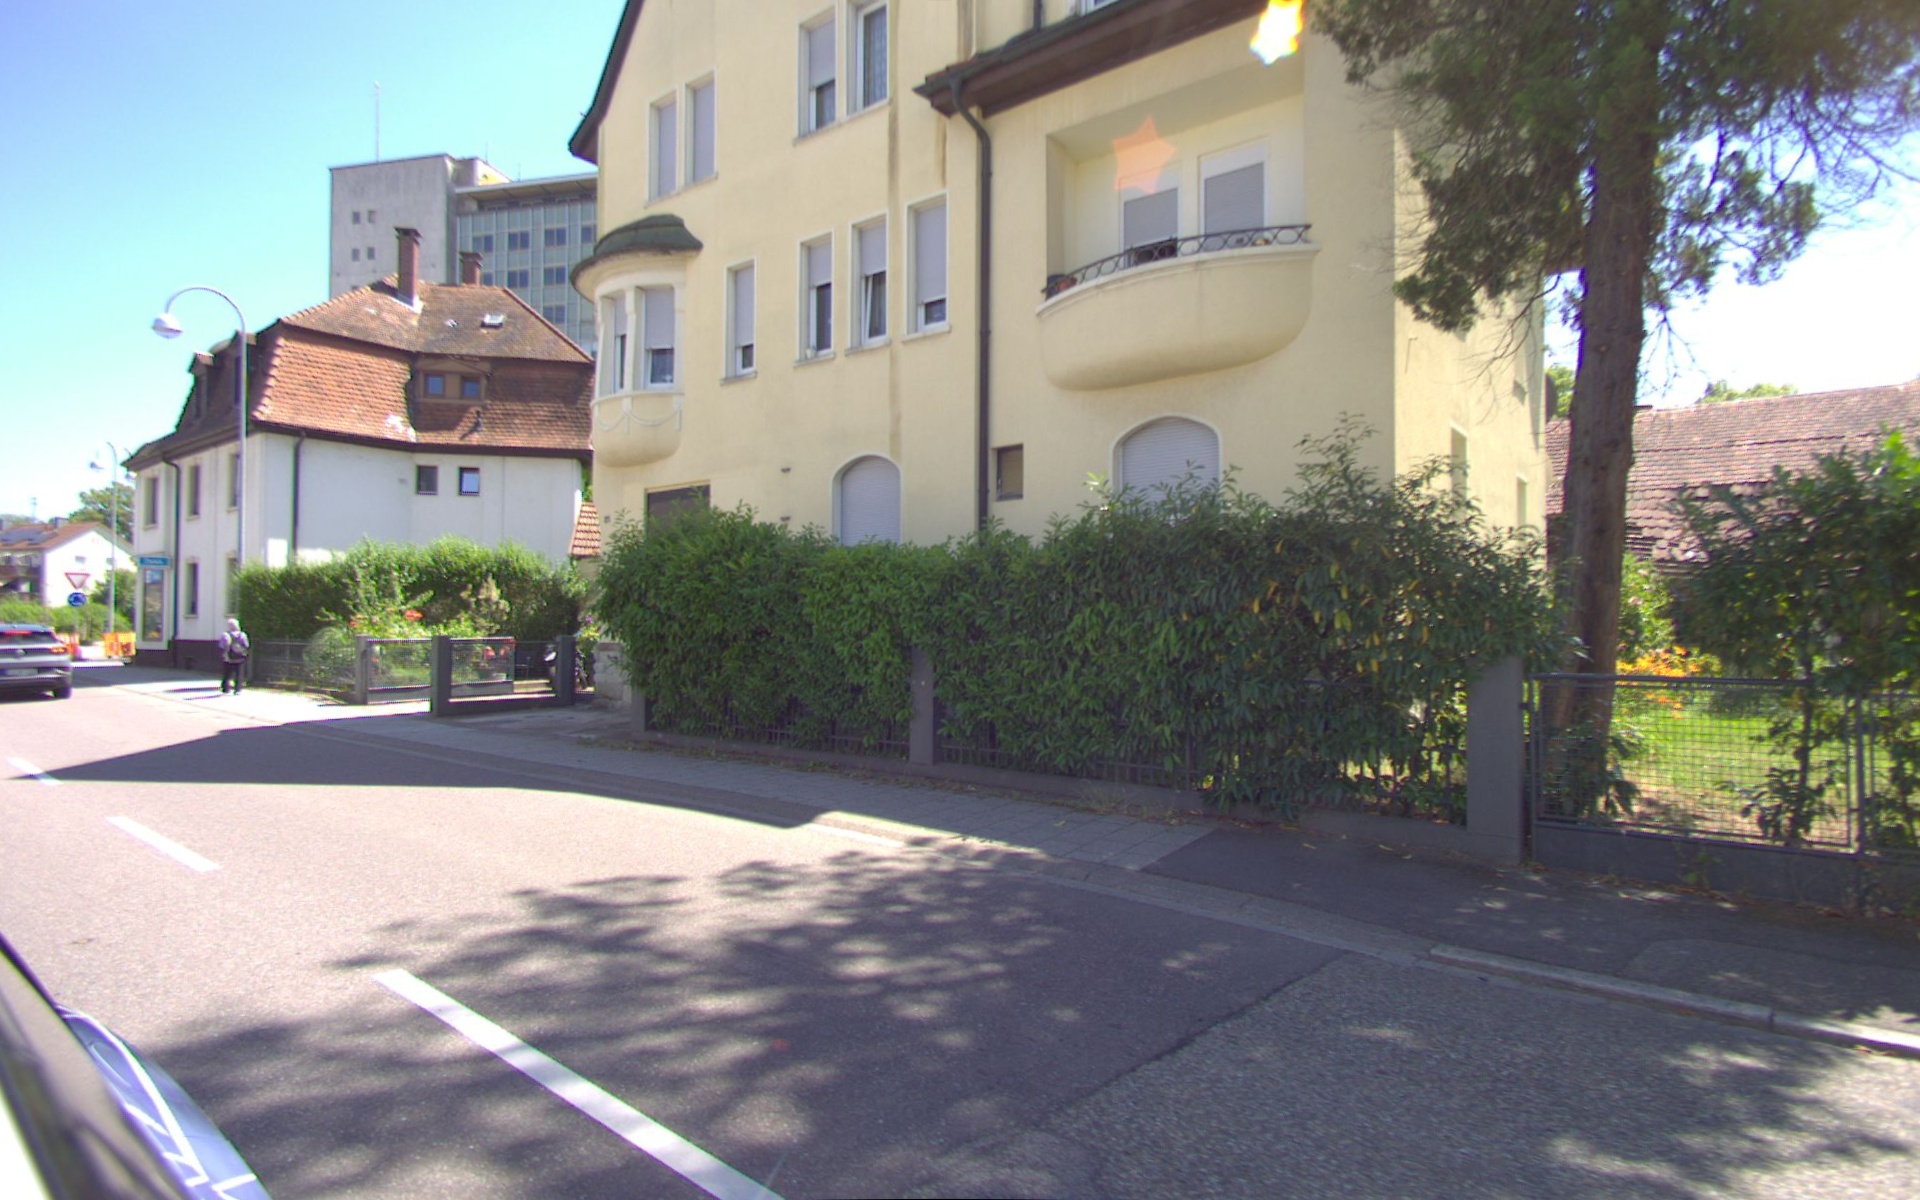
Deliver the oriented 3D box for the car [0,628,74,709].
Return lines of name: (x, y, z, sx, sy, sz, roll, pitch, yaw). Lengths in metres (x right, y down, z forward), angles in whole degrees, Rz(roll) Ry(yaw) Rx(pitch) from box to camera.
car: (-20.856, 1.435, 21.978, 4.294, 1.629, 1.834, -1, -2, 41)

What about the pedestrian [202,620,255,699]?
pedestrian: (-15.447, 1.243, 21.378, 0.823, 1.576, 0.607, -2, 3, 38)

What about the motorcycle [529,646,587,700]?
motorcycle: (-9.062, 1.613, 22.884, 0.705, 1.114, 2.148, 0, -2, -7)

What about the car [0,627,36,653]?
car: (-61.026, 2.551, 64.311, 1.708, 1.614, 3.946, 0, -1, -12)
